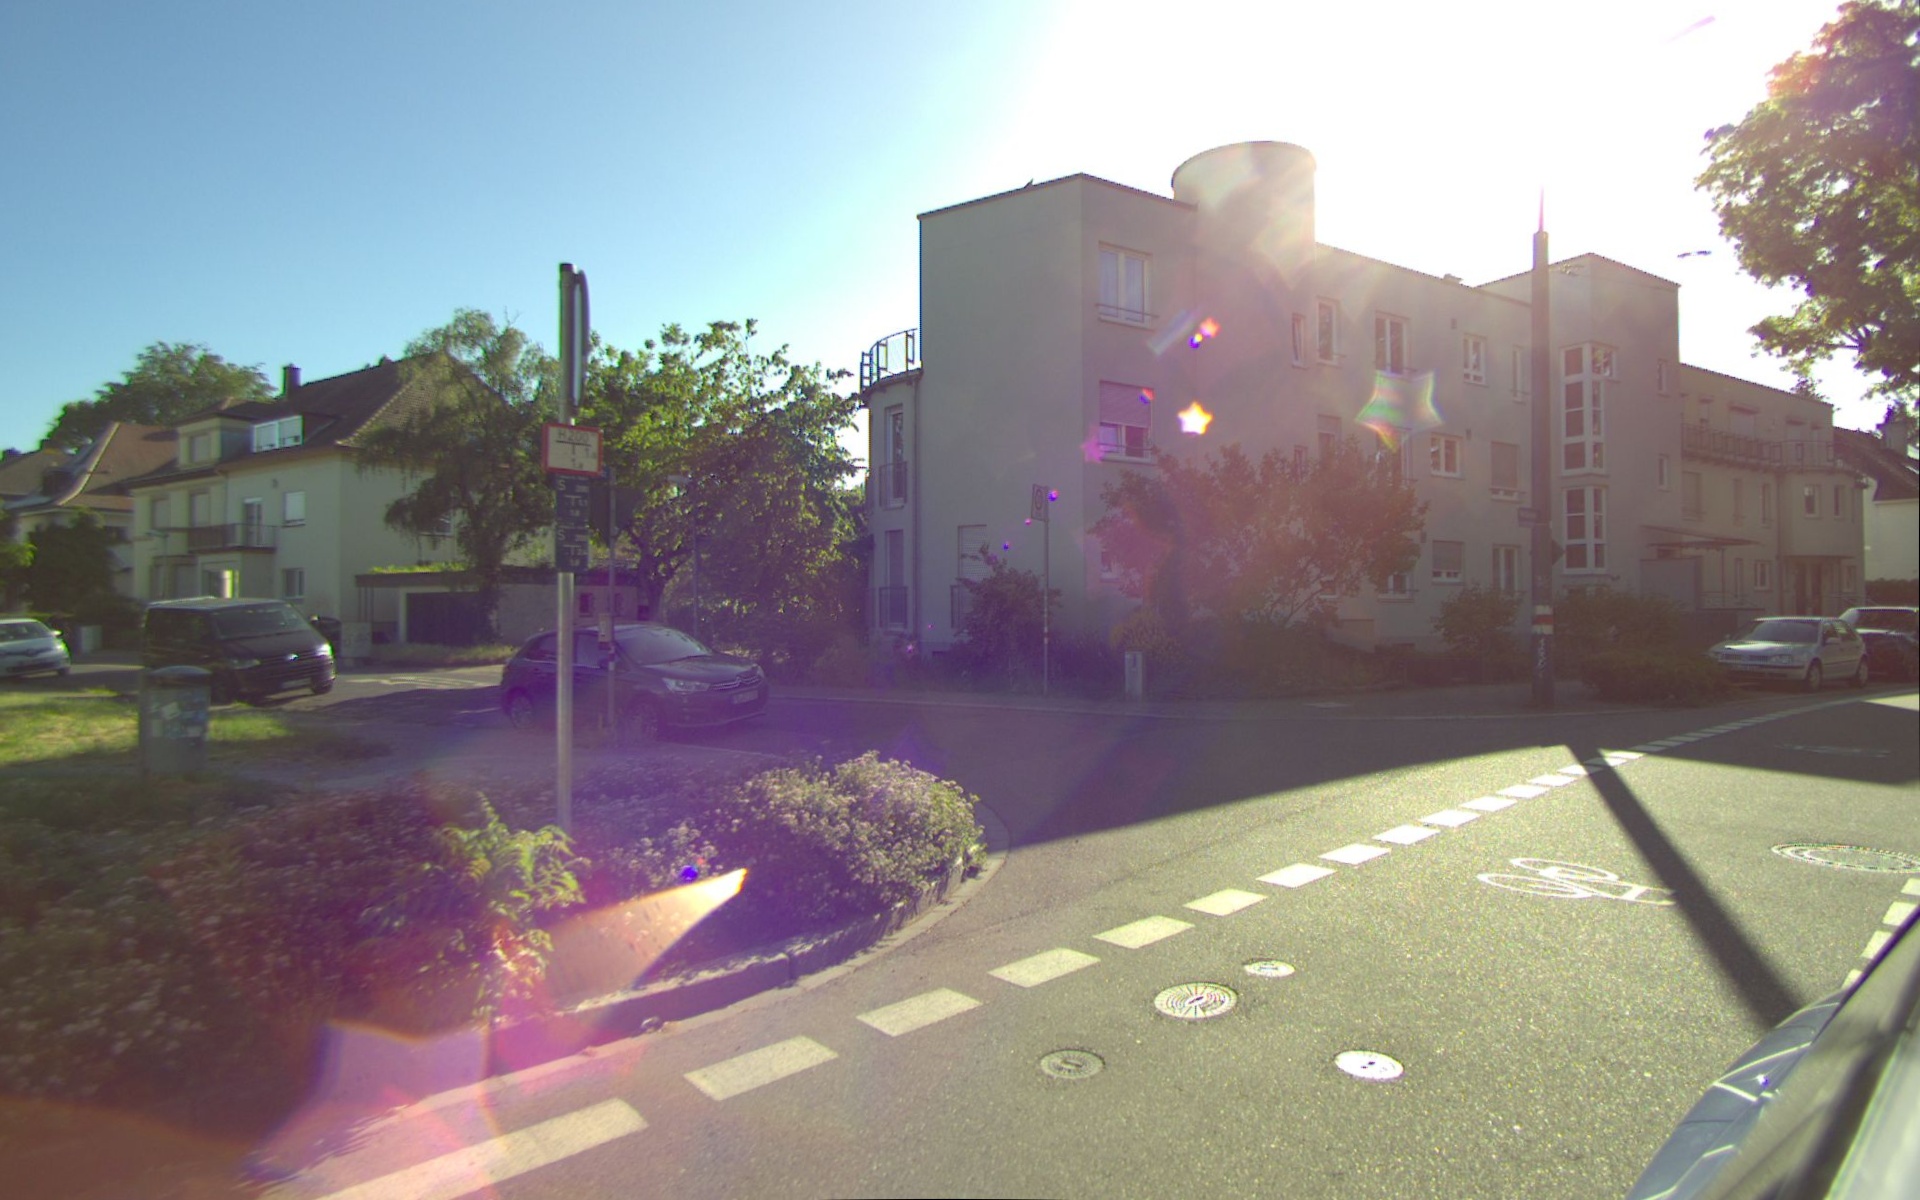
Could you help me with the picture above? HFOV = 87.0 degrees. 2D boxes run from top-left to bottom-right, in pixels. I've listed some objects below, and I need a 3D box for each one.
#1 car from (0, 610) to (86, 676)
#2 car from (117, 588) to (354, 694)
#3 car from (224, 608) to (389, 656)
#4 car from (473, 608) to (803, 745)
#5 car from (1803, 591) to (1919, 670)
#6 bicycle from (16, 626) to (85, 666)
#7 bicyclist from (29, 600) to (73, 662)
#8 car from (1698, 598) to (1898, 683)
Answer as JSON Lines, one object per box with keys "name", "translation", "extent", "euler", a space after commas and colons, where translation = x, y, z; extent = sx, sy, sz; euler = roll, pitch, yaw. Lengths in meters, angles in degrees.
{"name": "car", "translation": [-25.295, 1.096, 27.024], "extent": [4.201, 1.613, 1.975], "euler": [0, 0, 35]}
{"name": "car", "translation": [-14.634, 0.794, 20.359], "extent": [5.171, 1.909, 2.076], "euler": [-2, -1, 32]}
{"name": "car", "translation": [-22.974, 1.062, 35.750], "extent": [1.984, 1.519, 4.534], "euler": [0, 0, 31]}
{"name": "car", "translation": [-4.563, 0.942, 14.204], "extent": [4.427, 1.508, 1.988], "euler": [0, 3, 32]}
{"name": "car", "translation": [21.617, 0.626, 23.301], "extent": [4.509, 1.636, 2.002], "euler": [-1, 1, -31]}
{"name": "bicycle", "translation": [-30.410, 1.517, 33.839], "extent": [2.636, 1.247, 0.793], "euler": [0, 0, 26]}
{"name": "bicyclist", "translation": [-30.355, 1.028, 33.811], "extent": [0.841, 2.039, 0.819], "euler": [0, 0, 24]}
{"name": "car", "translation": [16.850, 0.744, 20.291], "extent": [4.441, 1.514, 1.745], "euler": [-1, -1, -32]}
